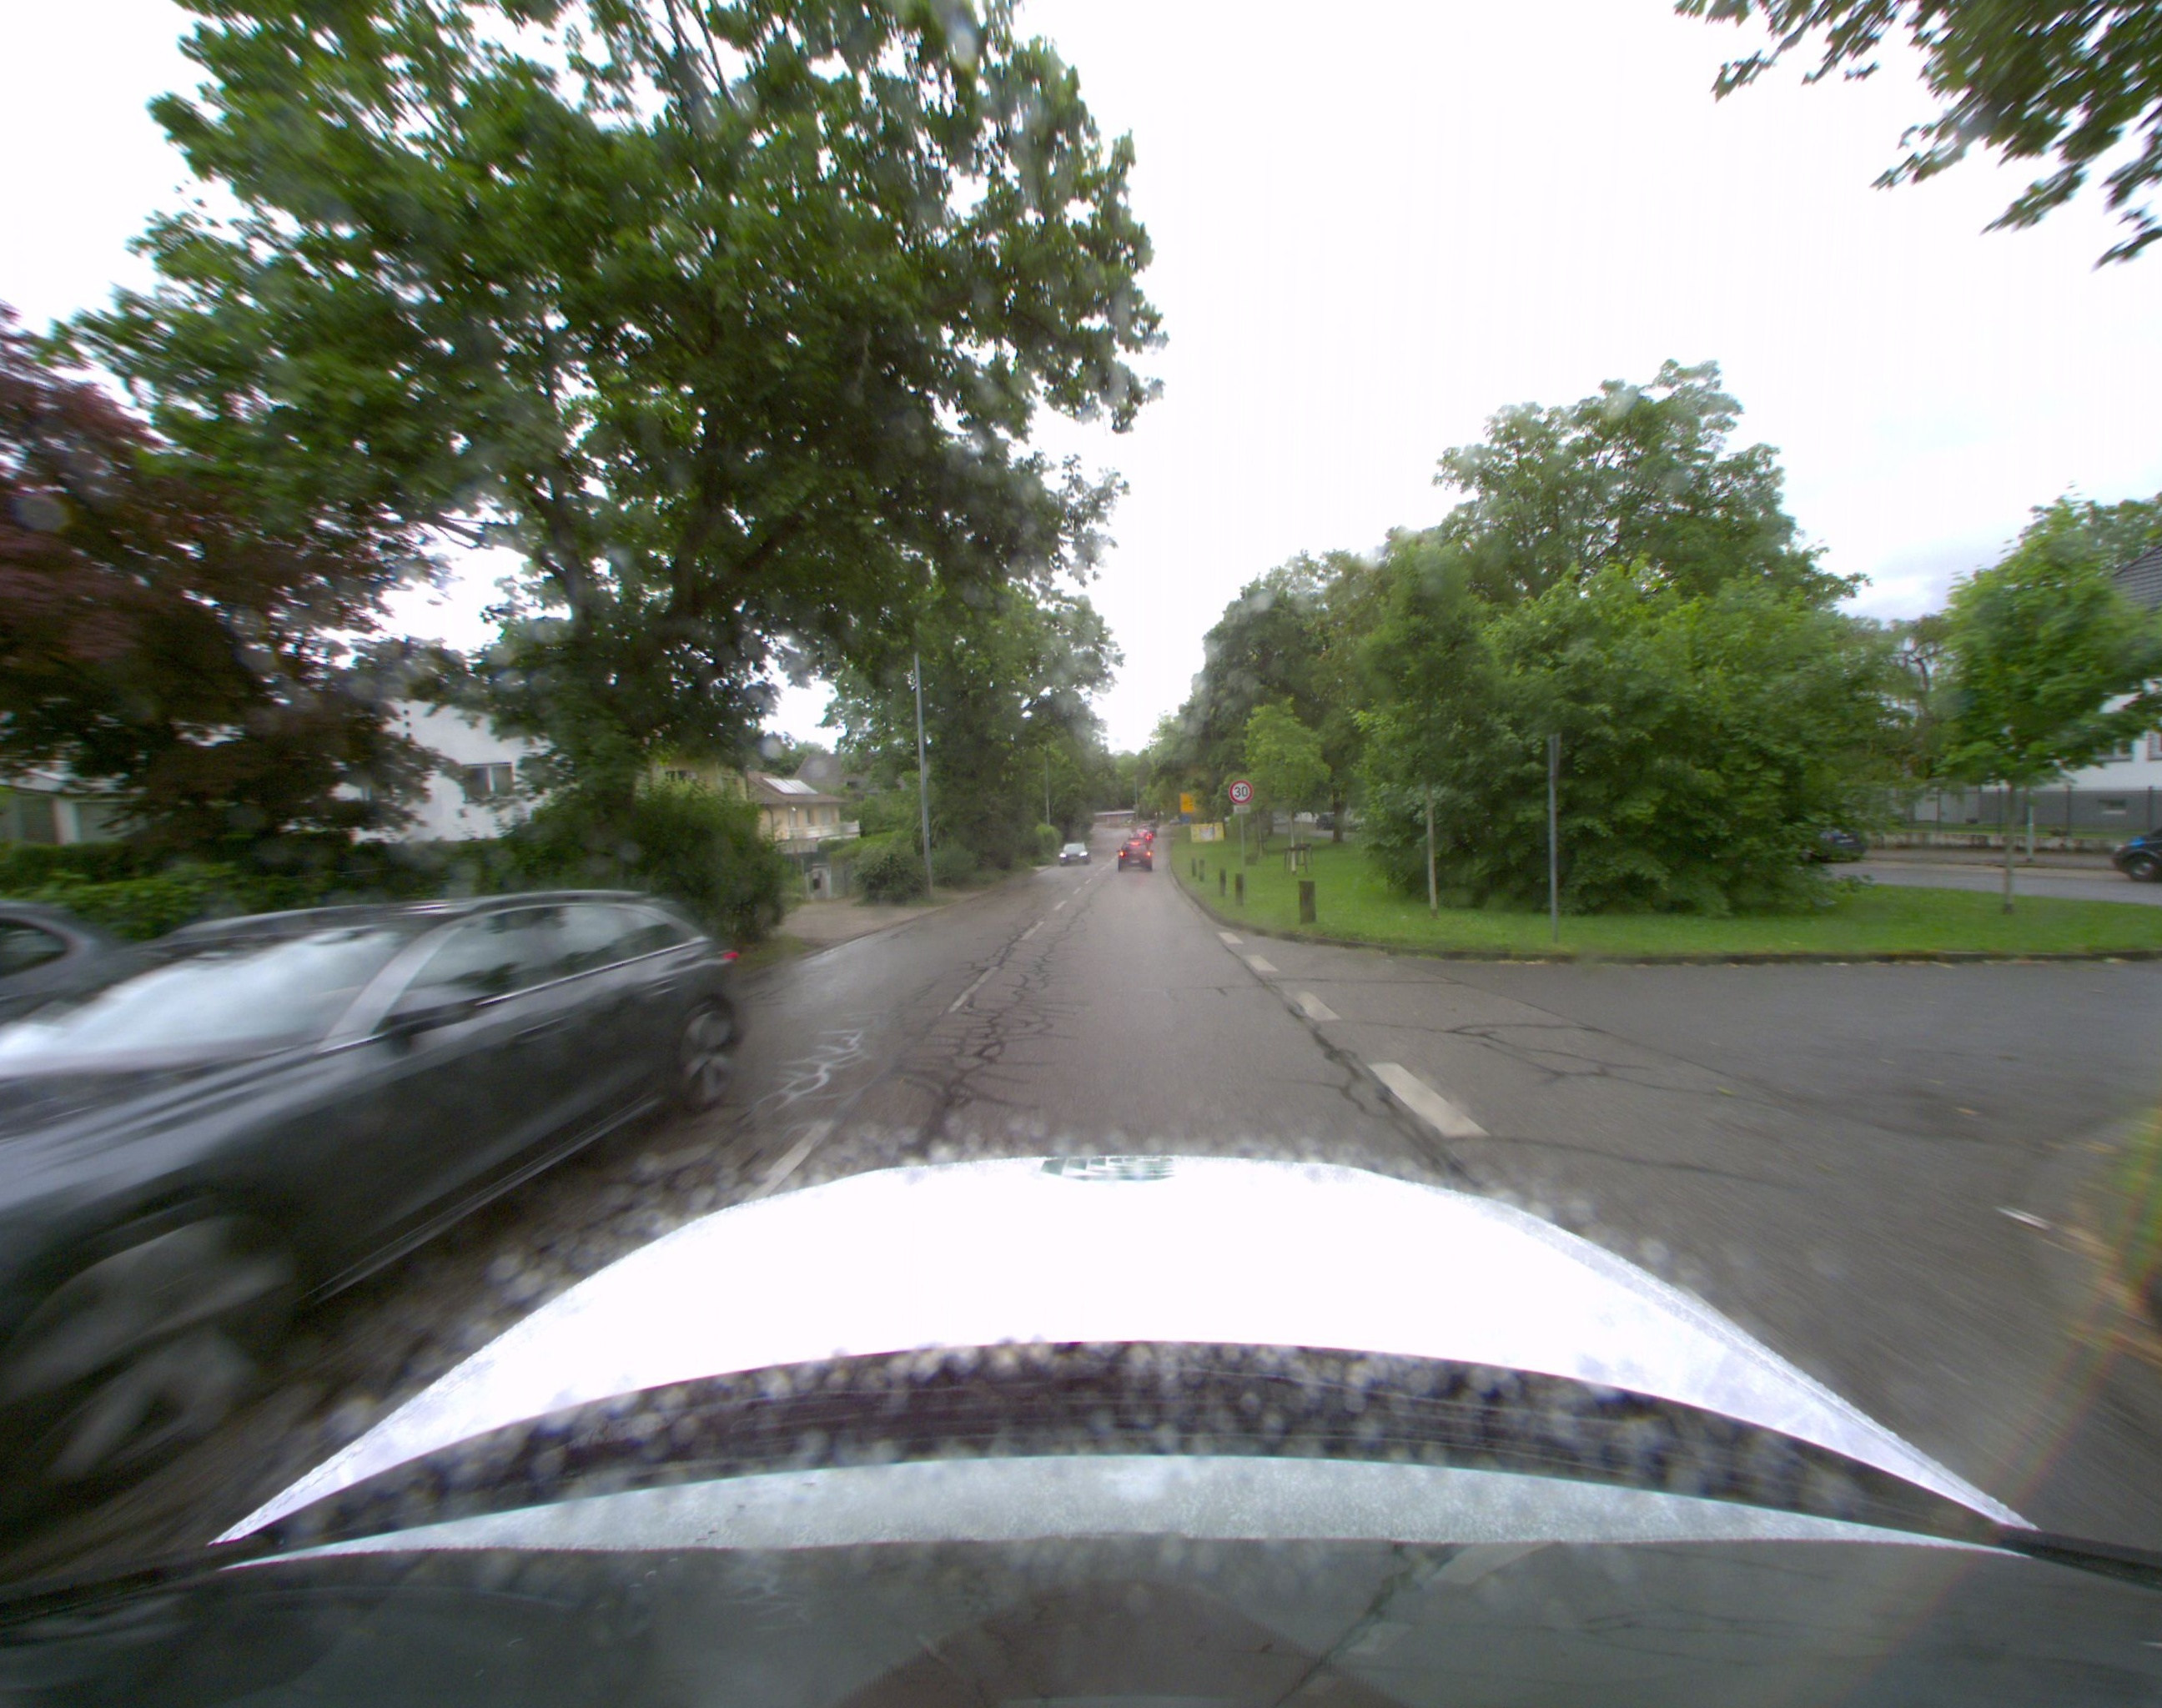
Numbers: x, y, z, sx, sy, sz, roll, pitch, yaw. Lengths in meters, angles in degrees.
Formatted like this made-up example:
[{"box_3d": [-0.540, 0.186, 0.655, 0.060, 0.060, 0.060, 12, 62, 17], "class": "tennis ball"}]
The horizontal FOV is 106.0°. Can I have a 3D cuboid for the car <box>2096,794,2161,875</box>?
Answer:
[{"box_3d": [26.296, -0.463, 17.736, 2.151, 1.878, 5.073, -3, 1, 2], "class": "car"}]

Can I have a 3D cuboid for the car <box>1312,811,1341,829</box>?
[{"box_3d": [28.204, -3.952, 93.678, 1.934, 1.808, 4.653, -4, 4, 3], "class": "car"}]

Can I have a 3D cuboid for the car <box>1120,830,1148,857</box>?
[{"box_3d": [3.957, -0.834, 60.608, 1.846, 1.784, 4.007, -3, 2, 6], "class": "car"}]

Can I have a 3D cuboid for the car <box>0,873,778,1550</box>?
[{"box_3d": [-3.190, 0.905, 3.701, 1.683, 1.396, 4.493, -5, 0, 2], "class": "car"}]

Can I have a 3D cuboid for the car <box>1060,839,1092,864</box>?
[{"box_3d": [-0.279, -0.190, 53.653, 1.747, 1.362, 4.330, -4, 2, 3], "class": "car"}]

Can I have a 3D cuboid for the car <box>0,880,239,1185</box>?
[{"box_3d": [-6.556, 0.984, 3.359, 1.657, 1.542, 4.285, 1, 1, 1], "class": "car"}]

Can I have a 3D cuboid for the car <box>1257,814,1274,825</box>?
[{"box_3d": [28.882, -5.393, 127.413, 1.794, 1.529, 4.117, -4, 3, 3], "class": "car"}]

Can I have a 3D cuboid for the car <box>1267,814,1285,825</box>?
[{"box_3d": [28.766, -5.132, 120.120, 1.611, 1.409, 4.011, -4, 3, 0], "class": "car"}]

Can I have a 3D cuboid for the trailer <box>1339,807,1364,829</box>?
[{"box_3d": [27.986, -3.760, 84.329, 1.431, 2.153, 2.951, -5, 3, 0], "class": "trailer"}]

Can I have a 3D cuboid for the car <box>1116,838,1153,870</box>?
[{"box_3d": [2.806, -0.045, 42.438, 1.790, 1.515, 3.760, 0, 2, 5], "class": "car"}]

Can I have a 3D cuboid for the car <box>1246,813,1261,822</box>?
[{"box_3d": [29.632, -6.306, 139.856, 1.794, 1.411, 4.117, -4, 3, 3], "class": "car"}]

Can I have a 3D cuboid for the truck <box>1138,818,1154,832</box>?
[{"box_3d": [10.659, -4.801, 133.802, 2.406, 2.004, 5.158, -3, 2, 4], "class": "truck"}]

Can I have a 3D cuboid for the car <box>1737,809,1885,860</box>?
[{"box_3d": [26.686, -0.723, 29.967, 1.894, 1.624, 4.037, -3, 1, 2], "class": "car"}]

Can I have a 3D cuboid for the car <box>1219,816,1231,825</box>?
[{"box_3d": [26.934, -6.325, 152.521, 1.795, 1.405, 4.007, -4, 3, 5], "class": "car"}]

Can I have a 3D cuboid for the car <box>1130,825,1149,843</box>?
[{"box_3d": [6.353, -2.139, 87.679, 1.846, 1.784, 4.007, -3, 2, 6], "class": "car"}]
